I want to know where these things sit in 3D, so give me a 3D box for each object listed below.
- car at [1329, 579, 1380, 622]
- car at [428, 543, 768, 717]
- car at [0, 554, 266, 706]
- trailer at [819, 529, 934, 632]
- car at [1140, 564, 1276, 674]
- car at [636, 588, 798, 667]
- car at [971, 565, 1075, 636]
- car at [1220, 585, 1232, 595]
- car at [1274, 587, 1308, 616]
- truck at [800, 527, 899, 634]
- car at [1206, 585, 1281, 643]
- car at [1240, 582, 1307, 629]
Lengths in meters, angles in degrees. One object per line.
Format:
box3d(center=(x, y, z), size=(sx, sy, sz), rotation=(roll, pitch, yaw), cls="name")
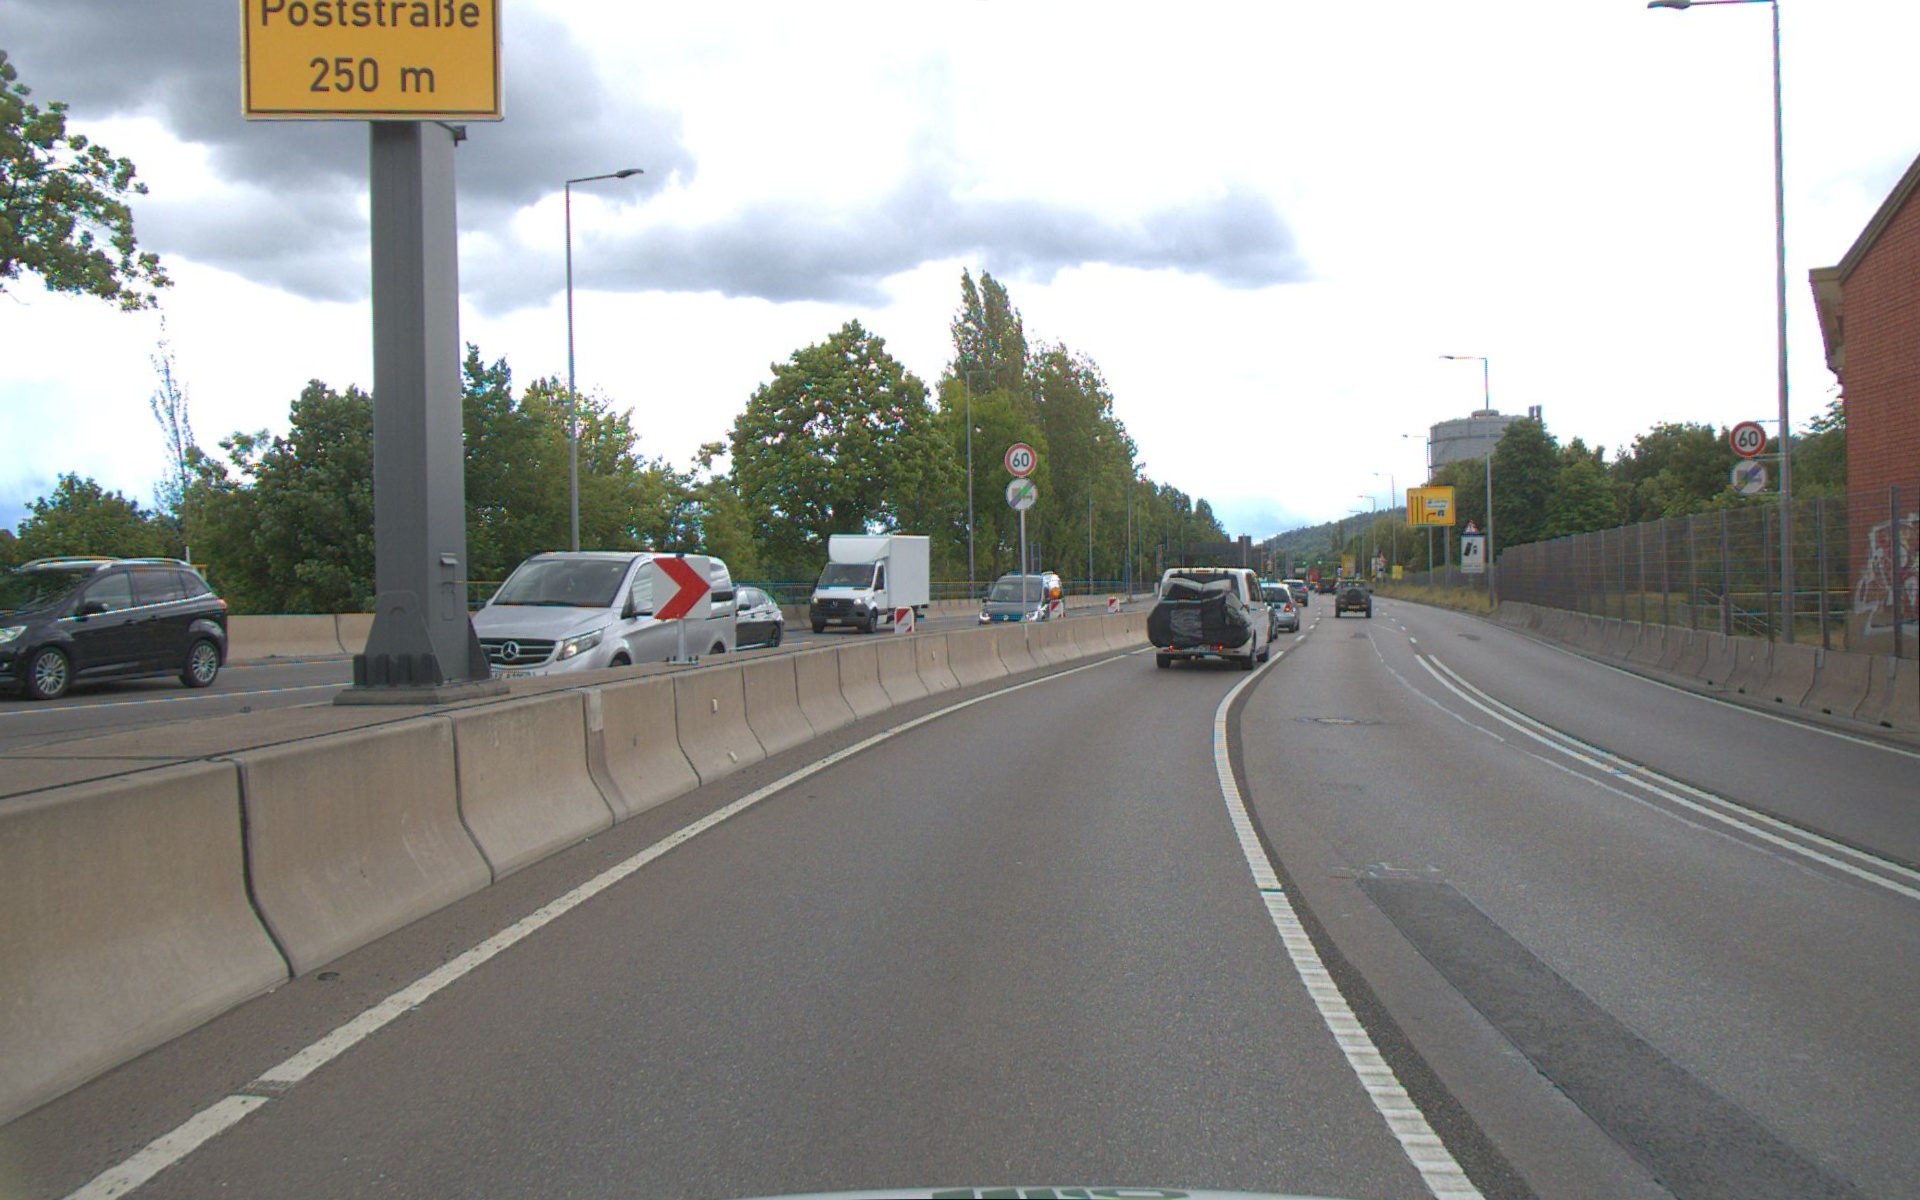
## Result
box3d(center=(18.054, 0.041, 75.769), size=(1.951, 1.892, 4.003), rotation=(-1, -1, 9), cls="car")
box3d(center=(-4.243, 0.311, 20.630), size=(1.909, 1.838, 5.797), rotation=(1, 0, 12), cls="car")
box3d(center=(-11.190, 0.326, 21.121), size=(1.951, 1.701, 4.732), rotation=(1, 0, 11), cls="car")
box3d(center=(-2.655, -0.614, 54.290), size=(2.224, 3.192, 5.716), rotation=(1, 0, 13), cls="trailer")
box3d(center=(4.912, 0.299, 32.081), size=(1.951, 1.891, 5.645), rotation=(2, 1, 15), cls="car")
box3d(center=(-4.838, 0.527, 33.583), size=(1.823, 1.478, 4.575), rotation=(0, 0, 11), cls="car")
box3d(center=(1.816, 0.021, 45.889), size=(1.861, 1.837, 4.958), rotation=(1, 0, 15), cls="car")
box3d(center=(37.256, -1.370, 231.760), size=(1.696, 1.398, 3.620), rotation=(0, 0, 9), cls="car")
box3d(center=(20.504, 0.097, 102.325), size=(1.951, 1.702, 4.003), rotation=(1, 0, 12), cls="car")
box3d(center=(-3.390, -0.593, 51.204), size=(2.224, 3.168, 2.990), rotation=(1, 0, 13), cls="truck")
box3d(center=(7.926, 0.362, 46.032), size=(1.776, 1.459, 4.069), rotation=(-2, 0, 13), cls="car")
box3d(center=(10.459, 0.158, 54.991), size=(1.880, 1.515, 4.068), rotation=(0, 0, 15), cls="car")
